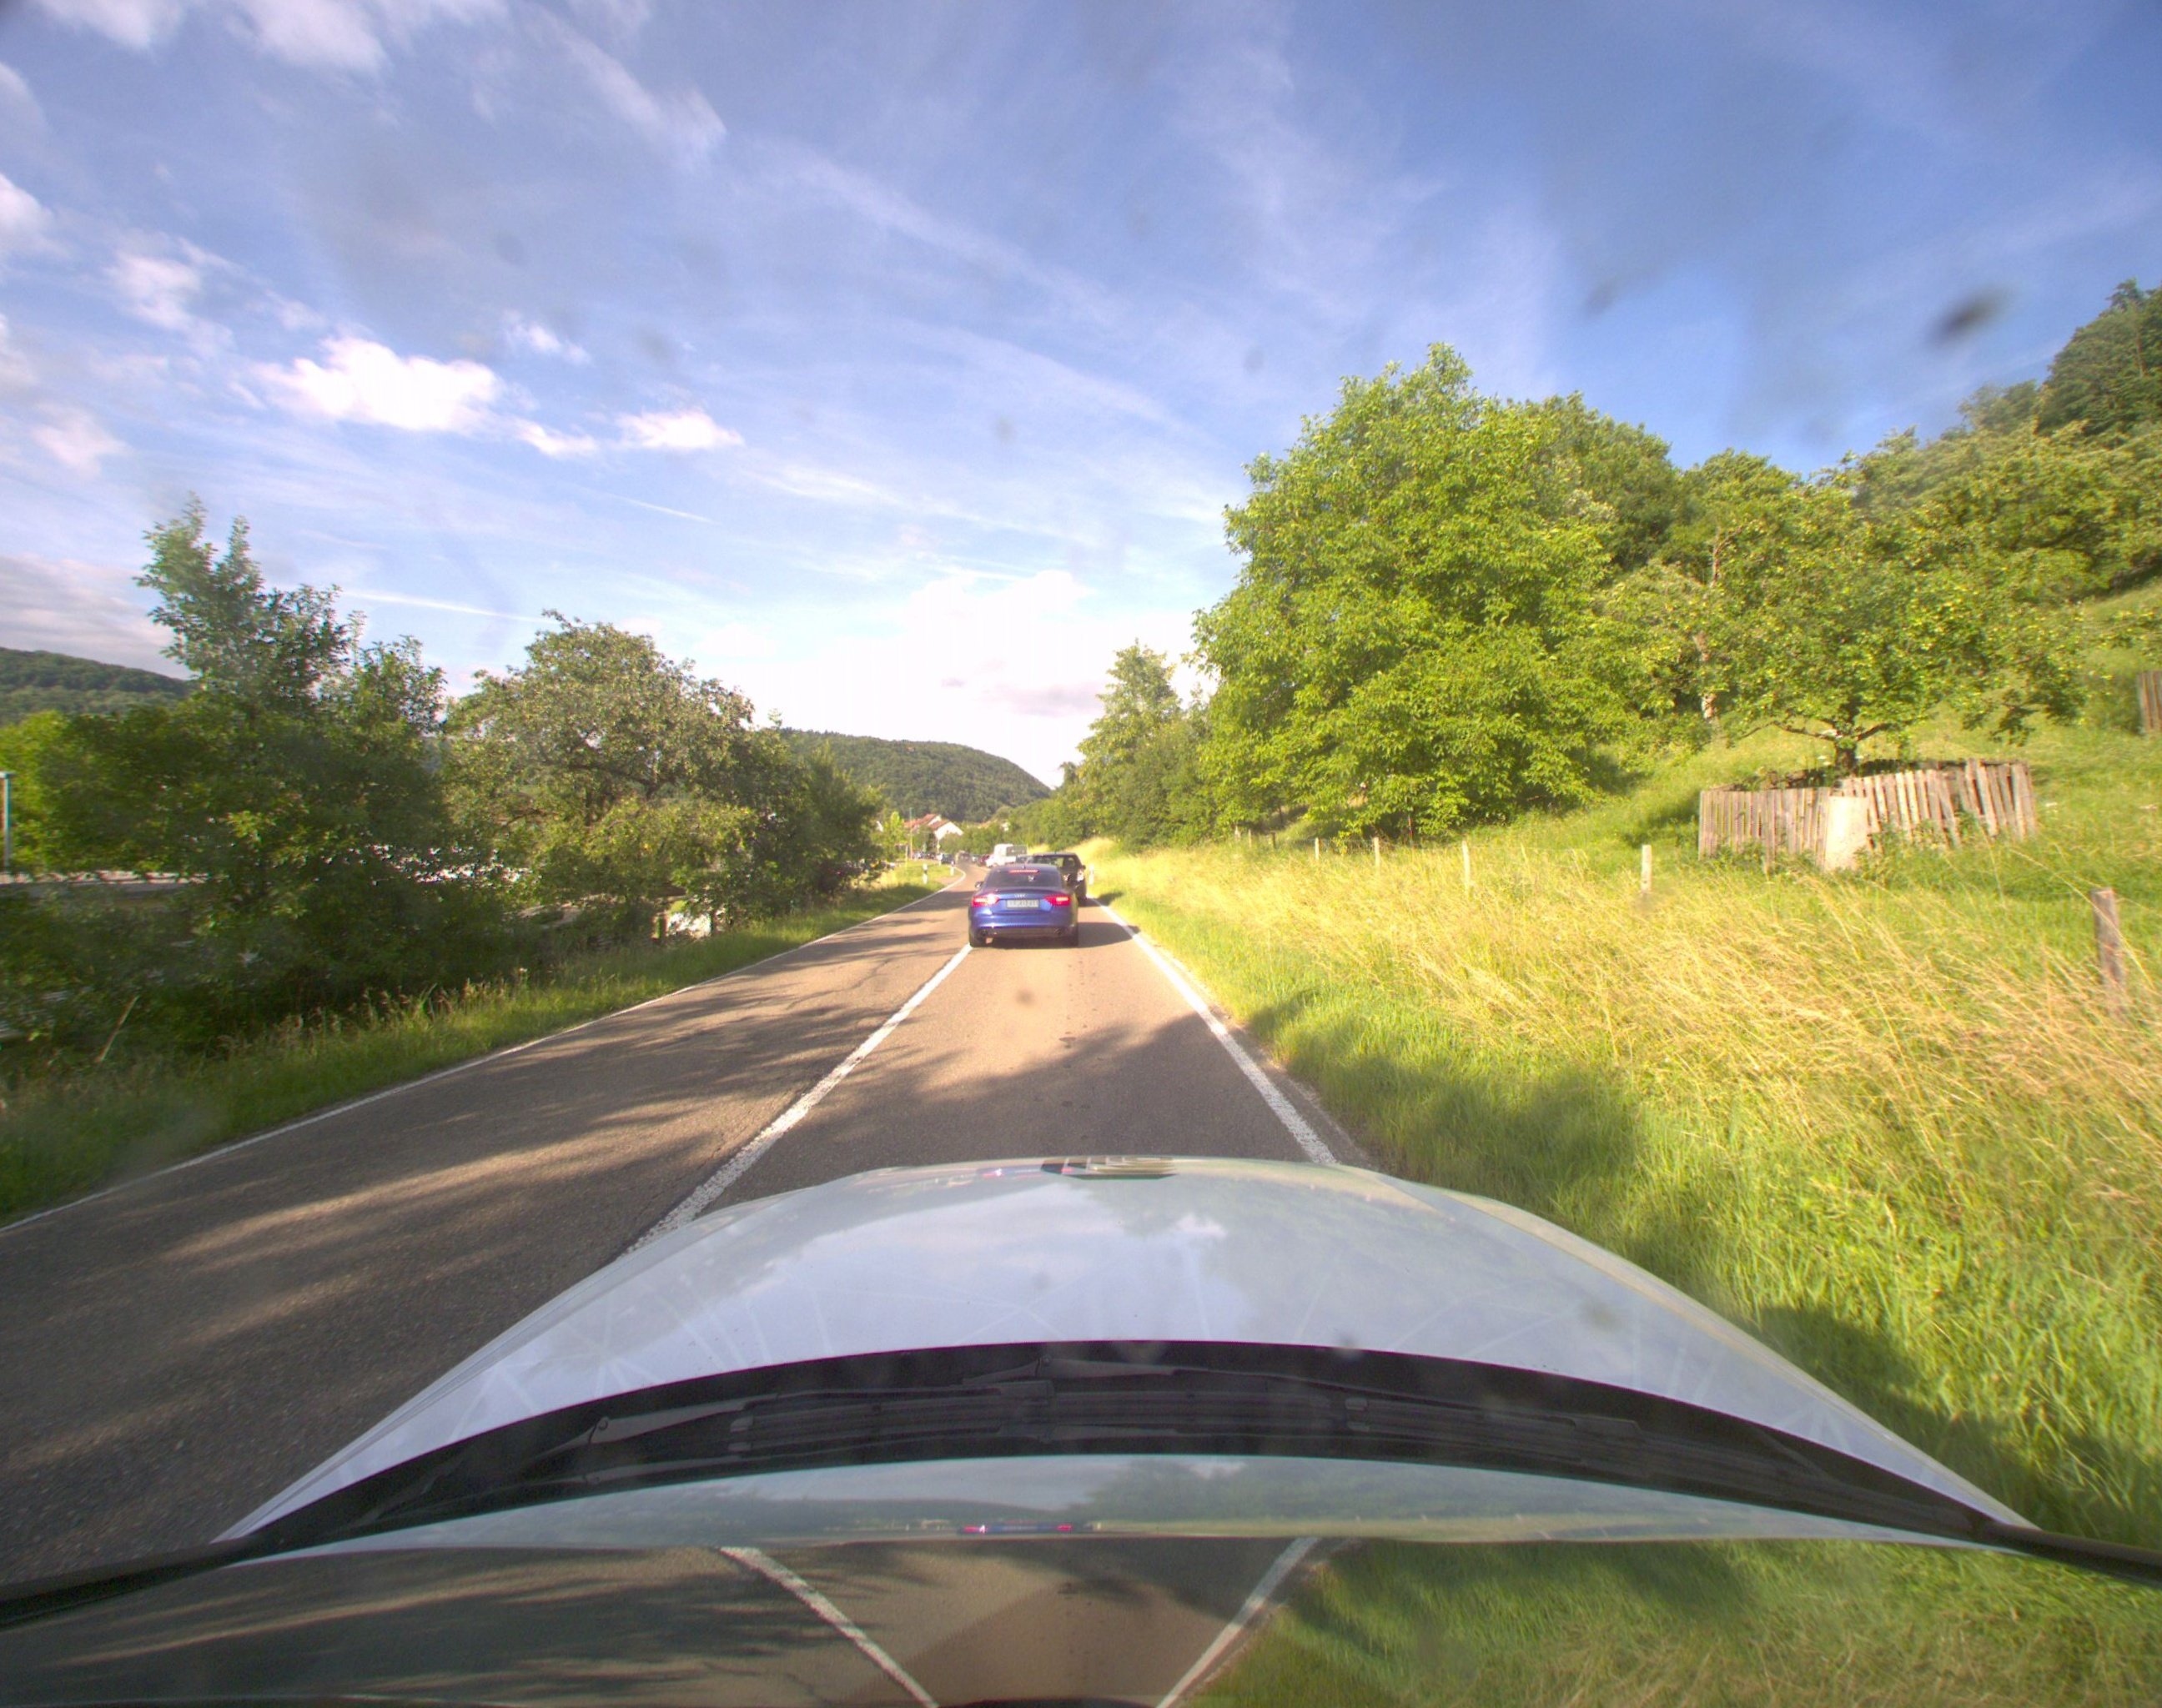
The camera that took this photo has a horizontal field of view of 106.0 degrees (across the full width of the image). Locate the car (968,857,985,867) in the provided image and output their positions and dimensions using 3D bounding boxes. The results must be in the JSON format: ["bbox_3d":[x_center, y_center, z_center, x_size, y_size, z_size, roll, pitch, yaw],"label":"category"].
[{"bbox_3d":[-15.524,1.154,120.795,1.998,1.482,3.978,0,-1,-16],"label":"car"}]

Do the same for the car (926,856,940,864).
[{"bbox_3d":[-29.429,1.145,161.793,2.001,1.482,3.971,0,-1,-22],"label":"car"}]

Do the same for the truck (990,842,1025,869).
[{"bbox_3d":[-8.002,0.170,87.383,2.865,2.665,10.607,0,0,-10],"label":"truck"}]

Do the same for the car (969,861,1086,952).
[{"bbox_3d":[-0.932,0.831,14.684,1.790,1.360,3.995,-1,0,-3],"label":"car"}]

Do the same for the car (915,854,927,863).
[{"bbox_3d":[-35.476,1.030,180.686,2.001,2.014,3.972,0,-1,-21],"label":"car"}]

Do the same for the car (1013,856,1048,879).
[{"bbox_3d":[-3.428,0.869,54.424,1.992,1.482,3.989,0,-1,-8],"label":"car"}]

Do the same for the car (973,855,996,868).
[{"bbox_3d":[-12.010,0.945,100.891,2.000,1.482,3.973,0,-1,-20],"label":"car"}]

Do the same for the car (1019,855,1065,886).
[{"bbox_3d":[-1.975,0.785,39.886,1.991,1.387,3.991,0,-1,-7],"label":"car"}]

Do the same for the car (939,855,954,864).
[{"bbox_3d":[-24.472,0.985,147.972,2.001,1.482,3.971,0,-1,-22],"label":"car"}]

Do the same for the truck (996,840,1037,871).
[{"bbox_3d":[-6.191,0.147,76.260,2.865,2.665,10.356,0,0,-10],"label":"truck"}]

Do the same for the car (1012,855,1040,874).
[{"bbox_3d":[-4.405,0.826,64.819,1.991,1.482,3.990,0,-1,-7],"label":"car"}]

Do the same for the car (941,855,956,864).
[{"bbox_3d":[-20.067,0.888,123.387,1.997,1.376,3.980,0,-1,-14],"label":"car"}]

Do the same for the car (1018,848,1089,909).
[{"bbox_3d":[-0.763,0.701,24.974,1.987,1.702,4.000,-1,-1,0],"label":"car"}]

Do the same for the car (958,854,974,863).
[{"bbox_3d":[-18.622,0.756,131.791,1.998,1.482,3.978,0,-1,-16],"label":"car"}]

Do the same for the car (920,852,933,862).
[{"bbox_3d":[-32.372,0.672,170.555,2.001,2.014,3.972,0,-1,-21],"label":"car"}]
